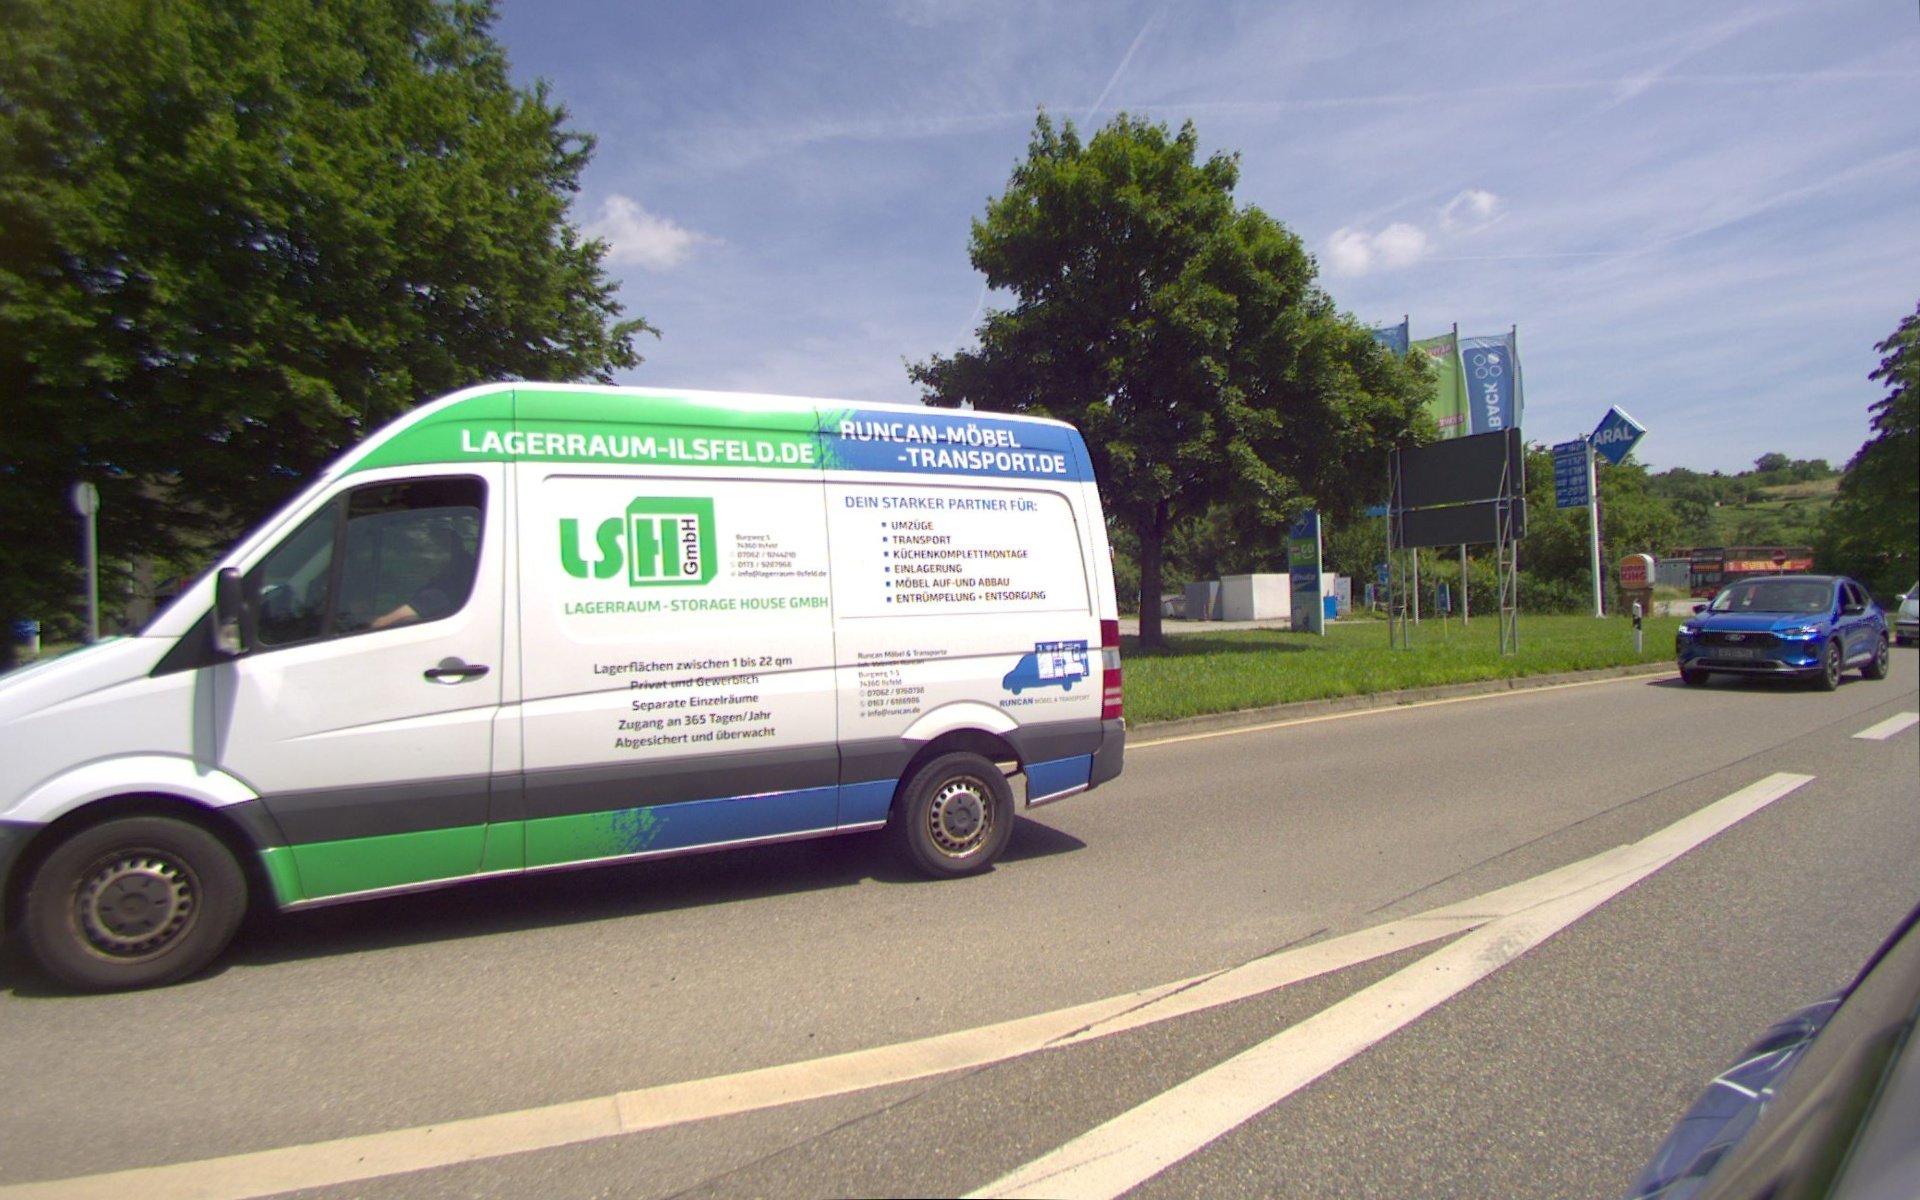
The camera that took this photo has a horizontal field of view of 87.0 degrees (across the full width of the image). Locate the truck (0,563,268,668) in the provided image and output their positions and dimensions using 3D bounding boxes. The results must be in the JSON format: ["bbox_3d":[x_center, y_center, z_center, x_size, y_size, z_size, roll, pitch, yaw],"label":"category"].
[{"bbox_3d":[-23.262,0.386,28.284,6.020,2.651,2.267,-2,0,-17],"label":"truck"}]

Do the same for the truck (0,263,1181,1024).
[{"bbox_3d":[-1.761,0.173,5.728,5.821,2.773,2.075,0,-2,-27],"label":"truck"}]

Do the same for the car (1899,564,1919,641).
[{"bbox_3d":[23.711,-0.006,23.613,4.443,1.713,1.866,-3,2,-37],"label":"car"}]

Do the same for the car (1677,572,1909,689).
[{"bbox_3d":[13.063,0.383,15.788,4.306,1.578,1.783,-1,0,-36],"label":"car"}]
